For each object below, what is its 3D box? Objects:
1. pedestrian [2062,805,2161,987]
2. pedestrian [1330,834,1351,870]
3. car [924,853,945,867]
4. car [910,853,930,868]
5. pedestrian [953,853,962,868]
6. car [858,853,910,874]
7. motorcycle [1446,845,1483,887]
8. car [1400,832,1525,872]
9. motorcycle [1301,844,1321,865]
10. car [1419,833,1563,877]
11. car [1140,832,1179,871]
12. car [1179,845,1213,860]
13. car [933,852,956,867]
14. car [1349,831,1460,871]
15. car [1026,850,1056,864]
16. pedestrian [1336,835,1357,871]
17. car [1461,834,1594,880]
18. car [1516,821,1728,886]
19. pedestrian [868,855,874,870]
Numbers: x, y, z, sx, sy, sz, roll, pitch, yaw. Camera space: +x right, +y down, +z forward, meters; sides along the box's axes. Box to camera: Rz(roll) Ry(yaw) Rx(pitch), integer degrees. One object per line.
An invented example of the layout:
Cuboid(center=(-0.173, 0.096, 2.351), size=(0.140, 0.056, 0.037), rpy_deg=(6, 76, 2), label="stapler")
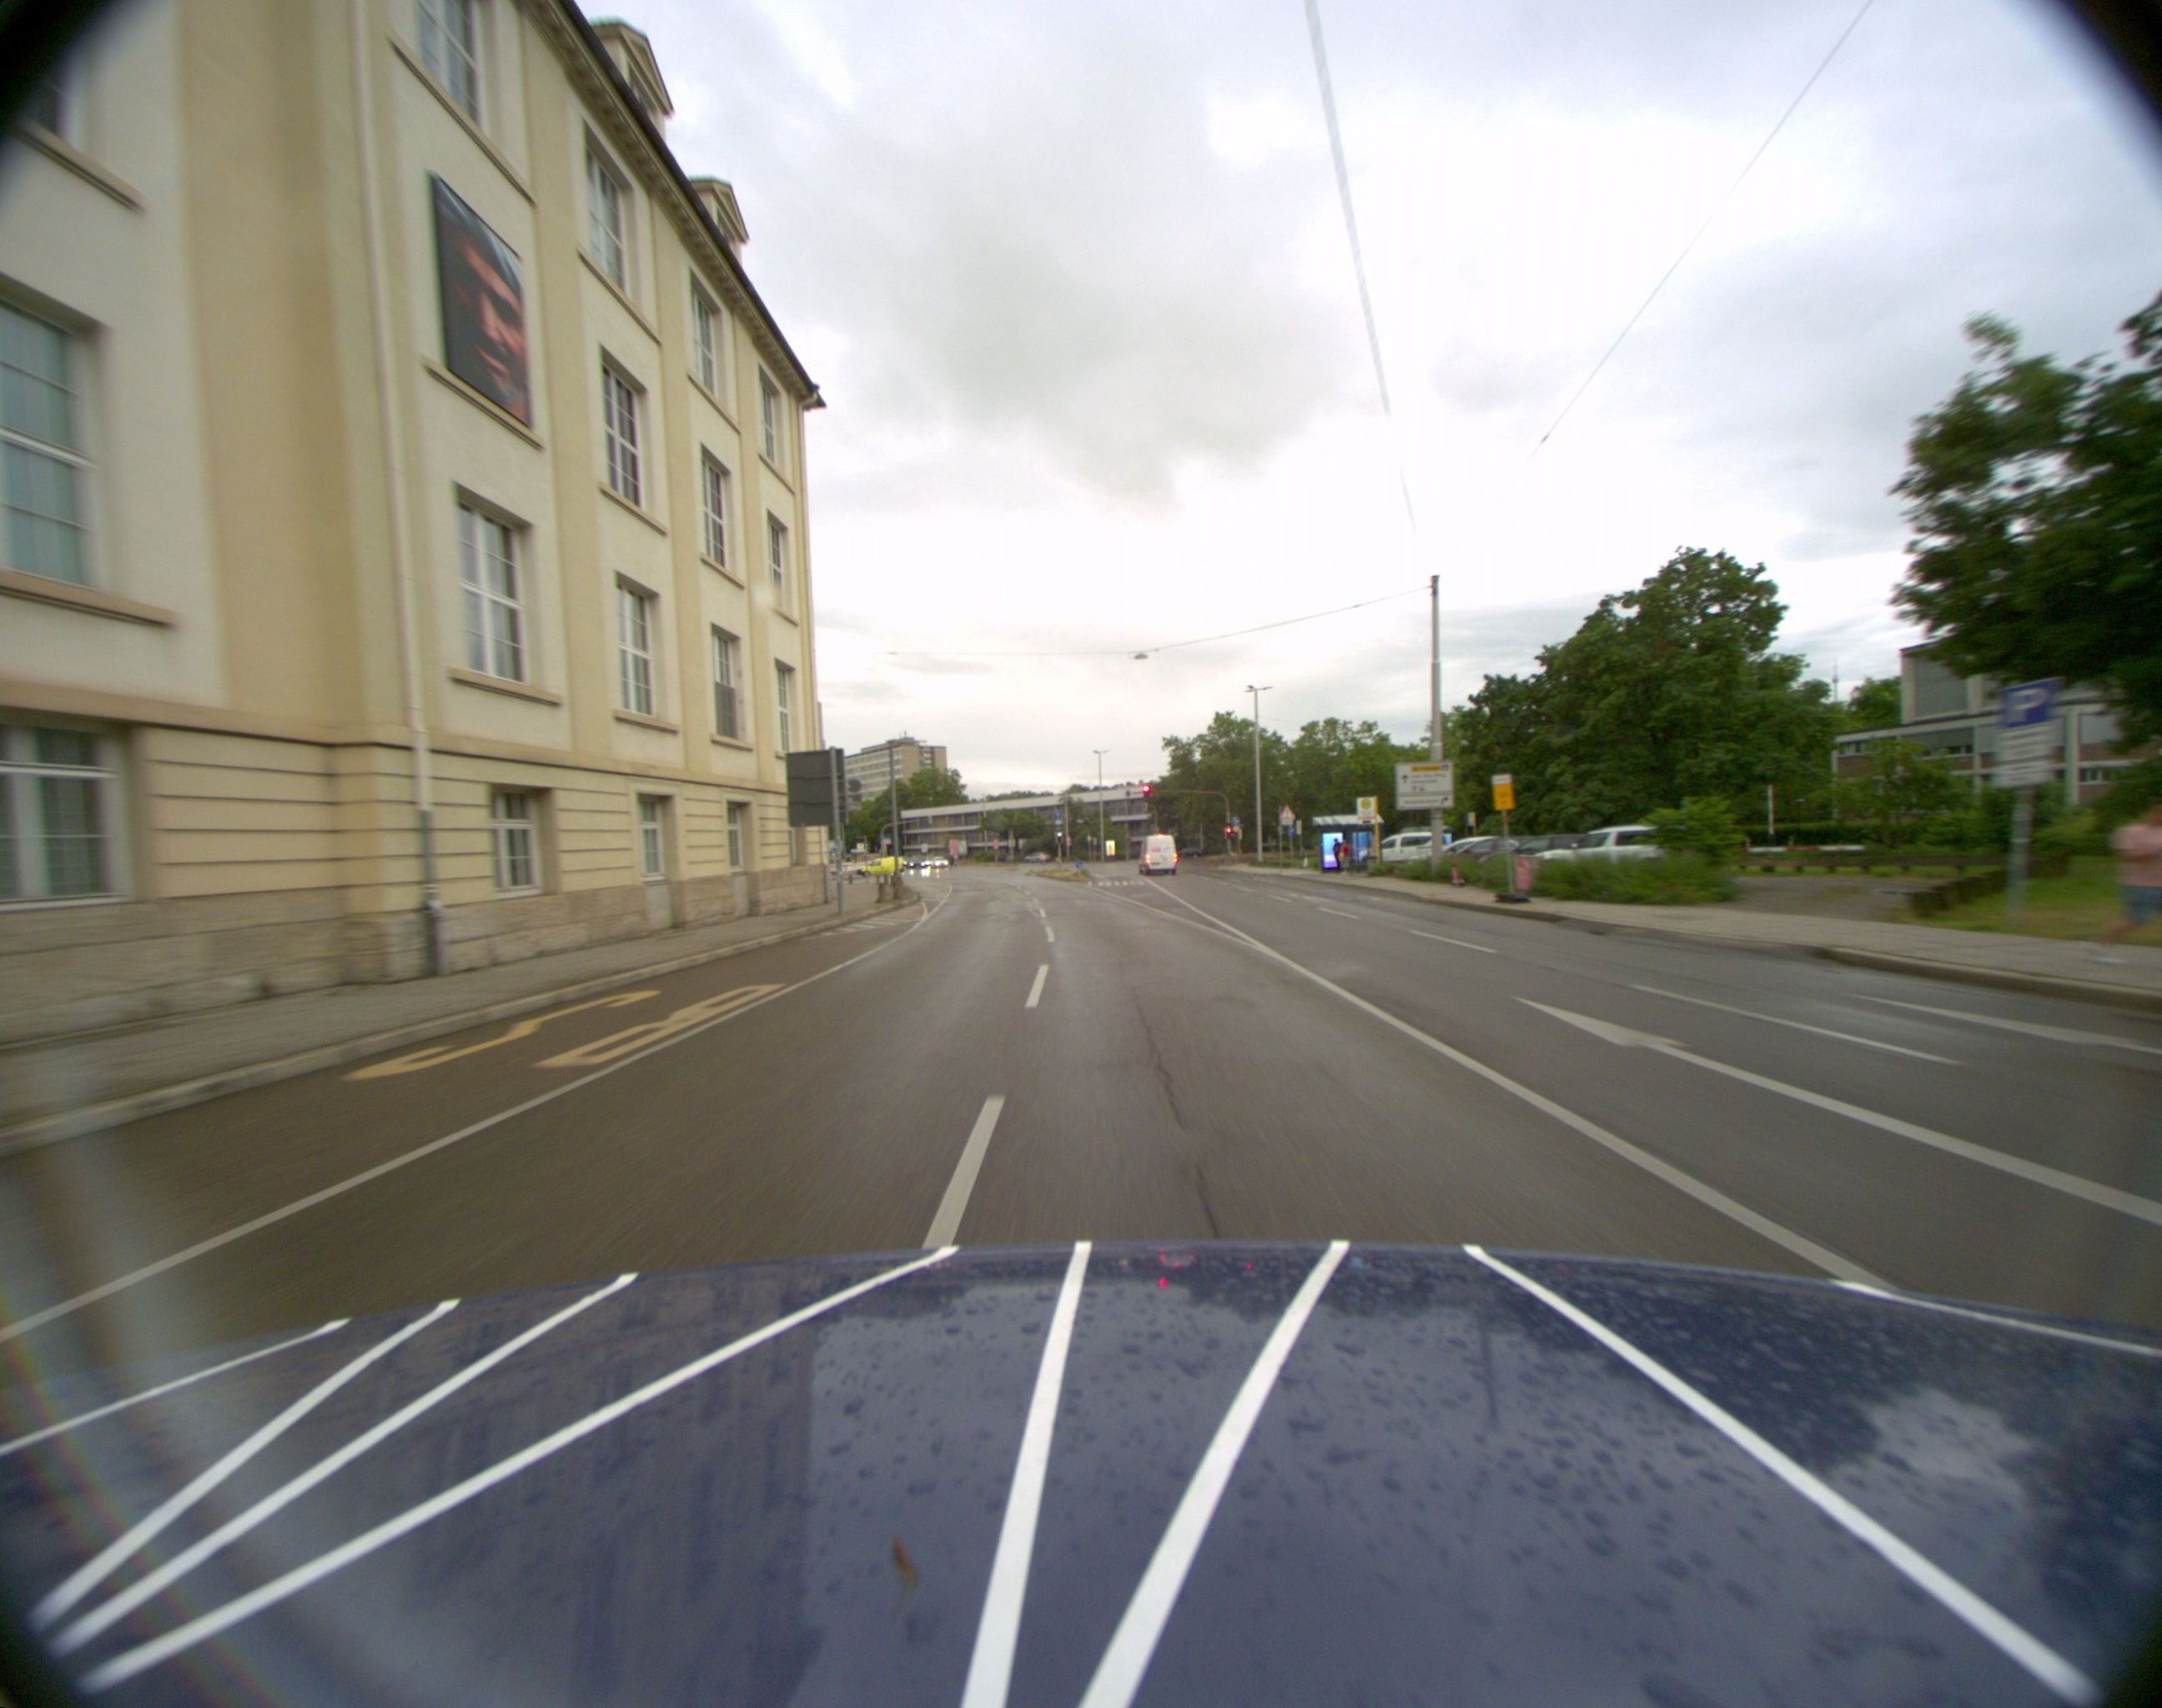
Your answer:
Cuboid(center=(10.433, 0.376, 7.355), size=(0.671, 1.677, 0.914), rpy_deg=(-3, 1, 8), label="pedestrian")
Cuboid(center=(12.584, -0.081, 36.825), size=(0.685, 1.686, 0.672), rpy_deg=(-4, 2, -7), label="pedestrian")
Cuboid(center=(-20.472, 0.846, 105.990), size=(2.079, 1.816, 4.555), rpy_deg=(-2, 0, -20), label="car")
Cuboid(center=(-21.152, 0.856, 99.794), size=(1.886, 1.857, 4.340), rpy_deg=(-2, 0, -20), label="car")
Cuboid(center=(-14.979, 0.754, 92.408), size=(0.903, 1.786, 0.541), rpy_deg=(-4, 2, -4), label="pedestrian")
Cuboid(center=(-20.260, 0.962, 78.148), size=(4.828, 1.996, 2.119), rpy_deg=(-2, 0, -21), label="car")
Cuboid(center=(11.977, 0.367, 23.767), size=(0.516, 1.240, 1.267), rpy_deg=(-3, 1, 3), label="motorcycle")
Cuboid(center=(15.580, -0.057, 31.043), size=(4.369, 1.341, 1.908), rpy_deg=(-3, 1, 31), label="car")
Cuboid(center=(13.898, 0.039, 45.927), size=(0.516, 1.240, 1.266), rpy_deg=(-4, 1, -13), label="motorcycle")
Cuboid(center=(15.203, 0.054, 28.421), size=(4.573, 1.341, 1.907), rpy_deg=(-3, 1, 26), label="car")
Cuboid(center=(5.317, -0.162, 52.253), size=(1.988, 2.514, 5.631), rpy_deg=(-2, 0, -1), label="car")
Cuboid(center=(15.428, -0.220, 102.059), size=(4.339, 1.900, 2.079), rpy_deg=(-2, 0, 13), label="car")
Cuboid(center=(-18.037, 0.696, 100.296), size=(2.079, 1.900, 4.555), rpy_deg=(-2, 0, -20), label="car")
Cuboid(center=(16.372, -0.122, 38.577), size=(4.711, 1.745, 2.020), rpy_deg=(-3, 1, 43), label="car")
Cuboid(center=(-6.072, 0.475, 114.676), size=(4.335, 1.900, 2.081), rpy_deg=(-1, 0, 42), label="car")
Cuboid(center=(12.580, -0.056, 36.000), size=(0.629, 1.686, 0.642), rpy_deg=(-4, 2, -7), label="pedestrian")
Cuboid(center=(15.083, 0.108, 25.730), size=(3.588, 1.341, 1.846), rpy_deg=(-3, 1, 40), label="car")
Cuboid(center=(15.286, 0.017, 21.722), size=(1.871, 1.600, 4.516), rpy_deg=(-4, 1, -32), label="car")
Cuboid(center=(-27.488, 1.087, 99.455), size=(0.644, 2.002, 0.594), rpy_deg=(-2, 1, -23), label="pedestrian")
